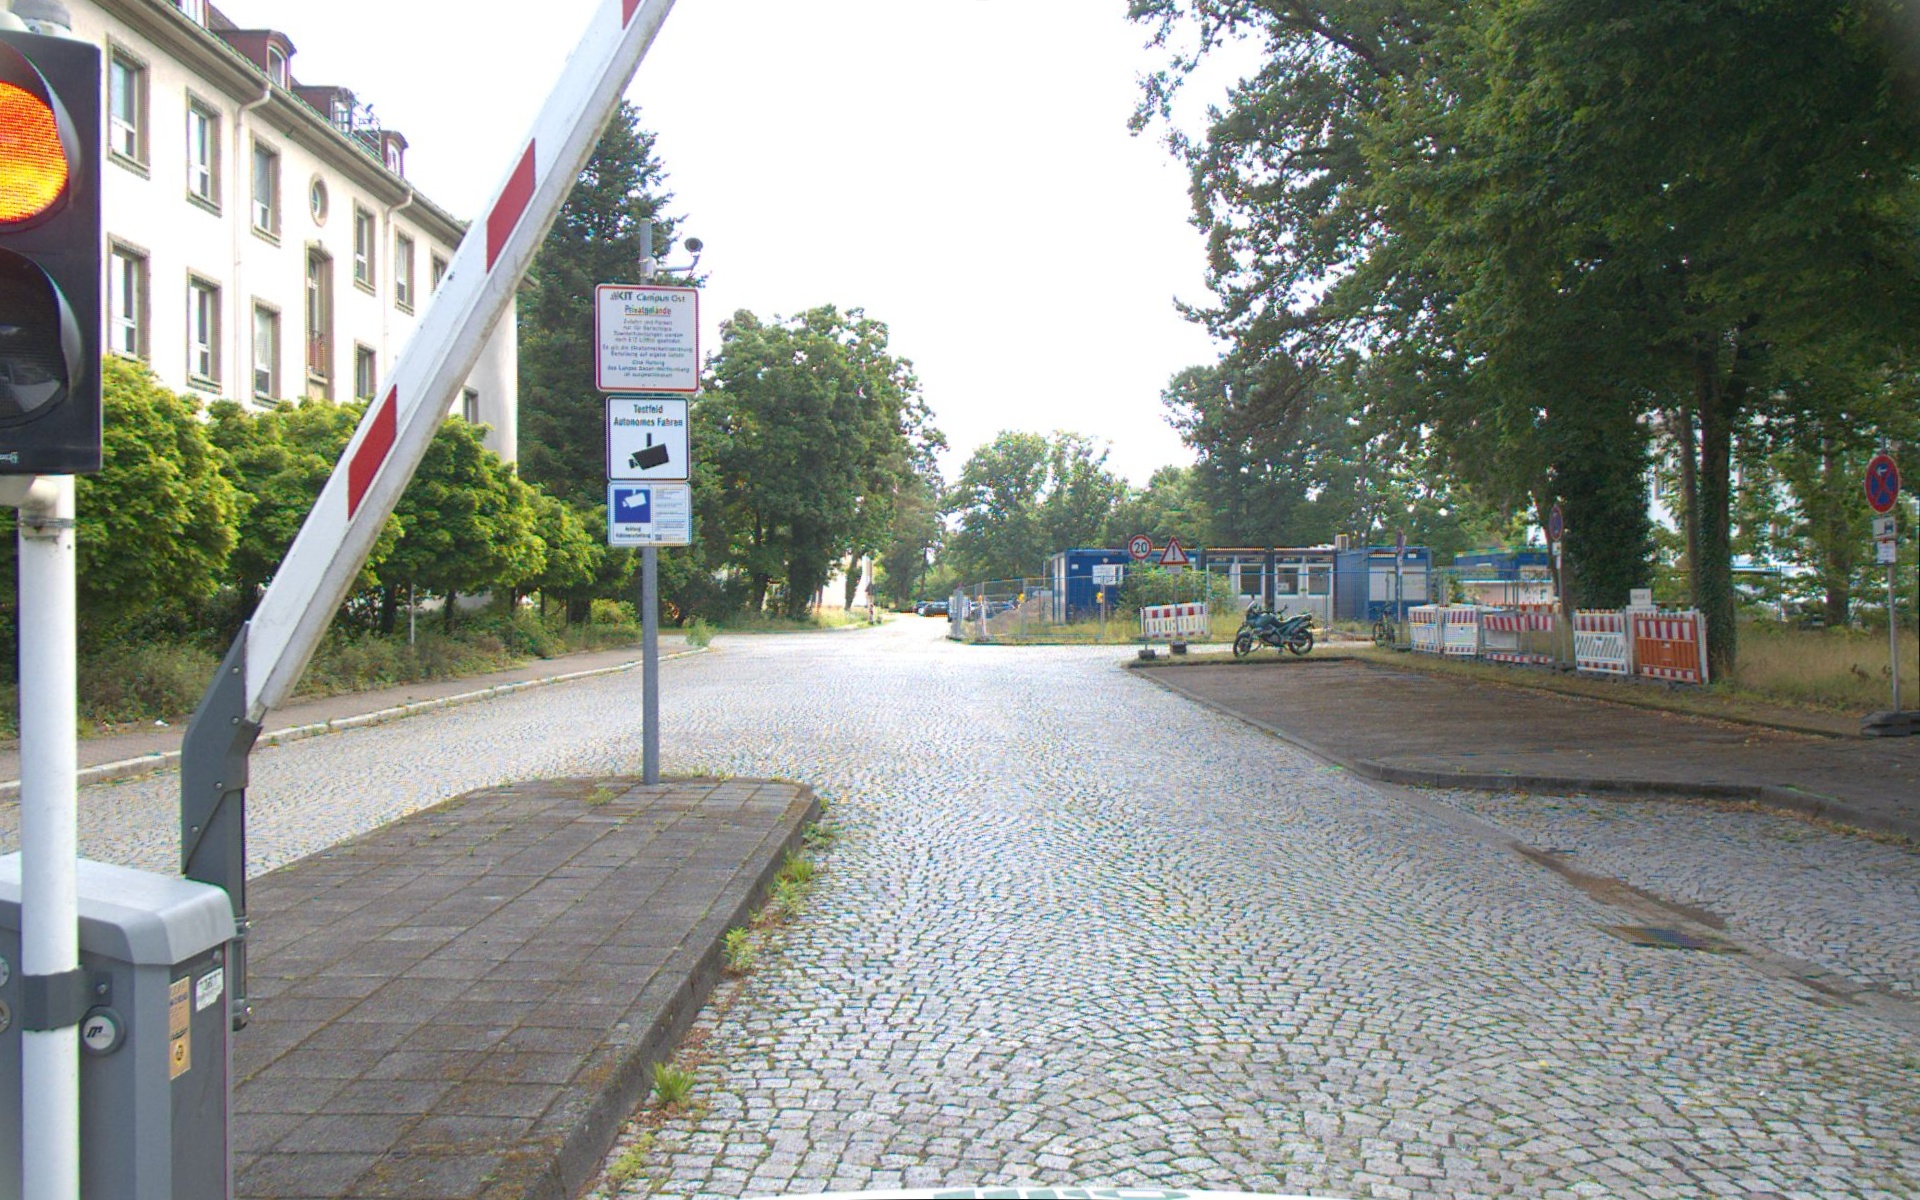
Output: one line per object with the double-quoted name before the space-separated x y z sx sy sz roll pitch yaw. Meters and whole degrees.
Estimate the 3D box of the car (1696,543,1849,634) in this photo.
"car" 24.915 -0.324 50.994 1.952 2.601 5.911 1 0 2

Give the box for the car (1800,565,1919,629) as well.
"car" 27.829 -0.065 50.505 1.952 1.857 4.875 1 0 1

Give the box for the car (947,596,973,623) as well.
"car" -0.026 0.748 131.371 1.953 2.049 4.089 0 0 -2

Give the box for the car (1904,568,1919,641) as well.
"car" 26.257 0.140 40.855 1.970 1.857 4.832 1 0 -27

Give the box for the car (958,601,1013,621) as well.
"car" 2.131 0.895 137.208 4.309 1.537 2.001 1 0 7

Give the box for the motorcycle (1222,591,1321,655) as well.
"motorcycle" 7.574 0.554 40.283 2.232 1.511 0.756 -1 0 -6

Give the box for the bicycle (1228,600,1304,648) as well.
"bicycle" 7.916 0.613 42.791 1.859 1.218 0.656 -1 0 19

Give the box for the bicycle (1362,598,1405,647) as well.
"bicycle" 10.689 0.557 41.767 0.629 1.189 1.905 -1 0 2

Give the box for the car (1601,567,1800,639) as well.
"car" 20.784 0.061 46.532 4.758 1.954 1.907 0 1 0
